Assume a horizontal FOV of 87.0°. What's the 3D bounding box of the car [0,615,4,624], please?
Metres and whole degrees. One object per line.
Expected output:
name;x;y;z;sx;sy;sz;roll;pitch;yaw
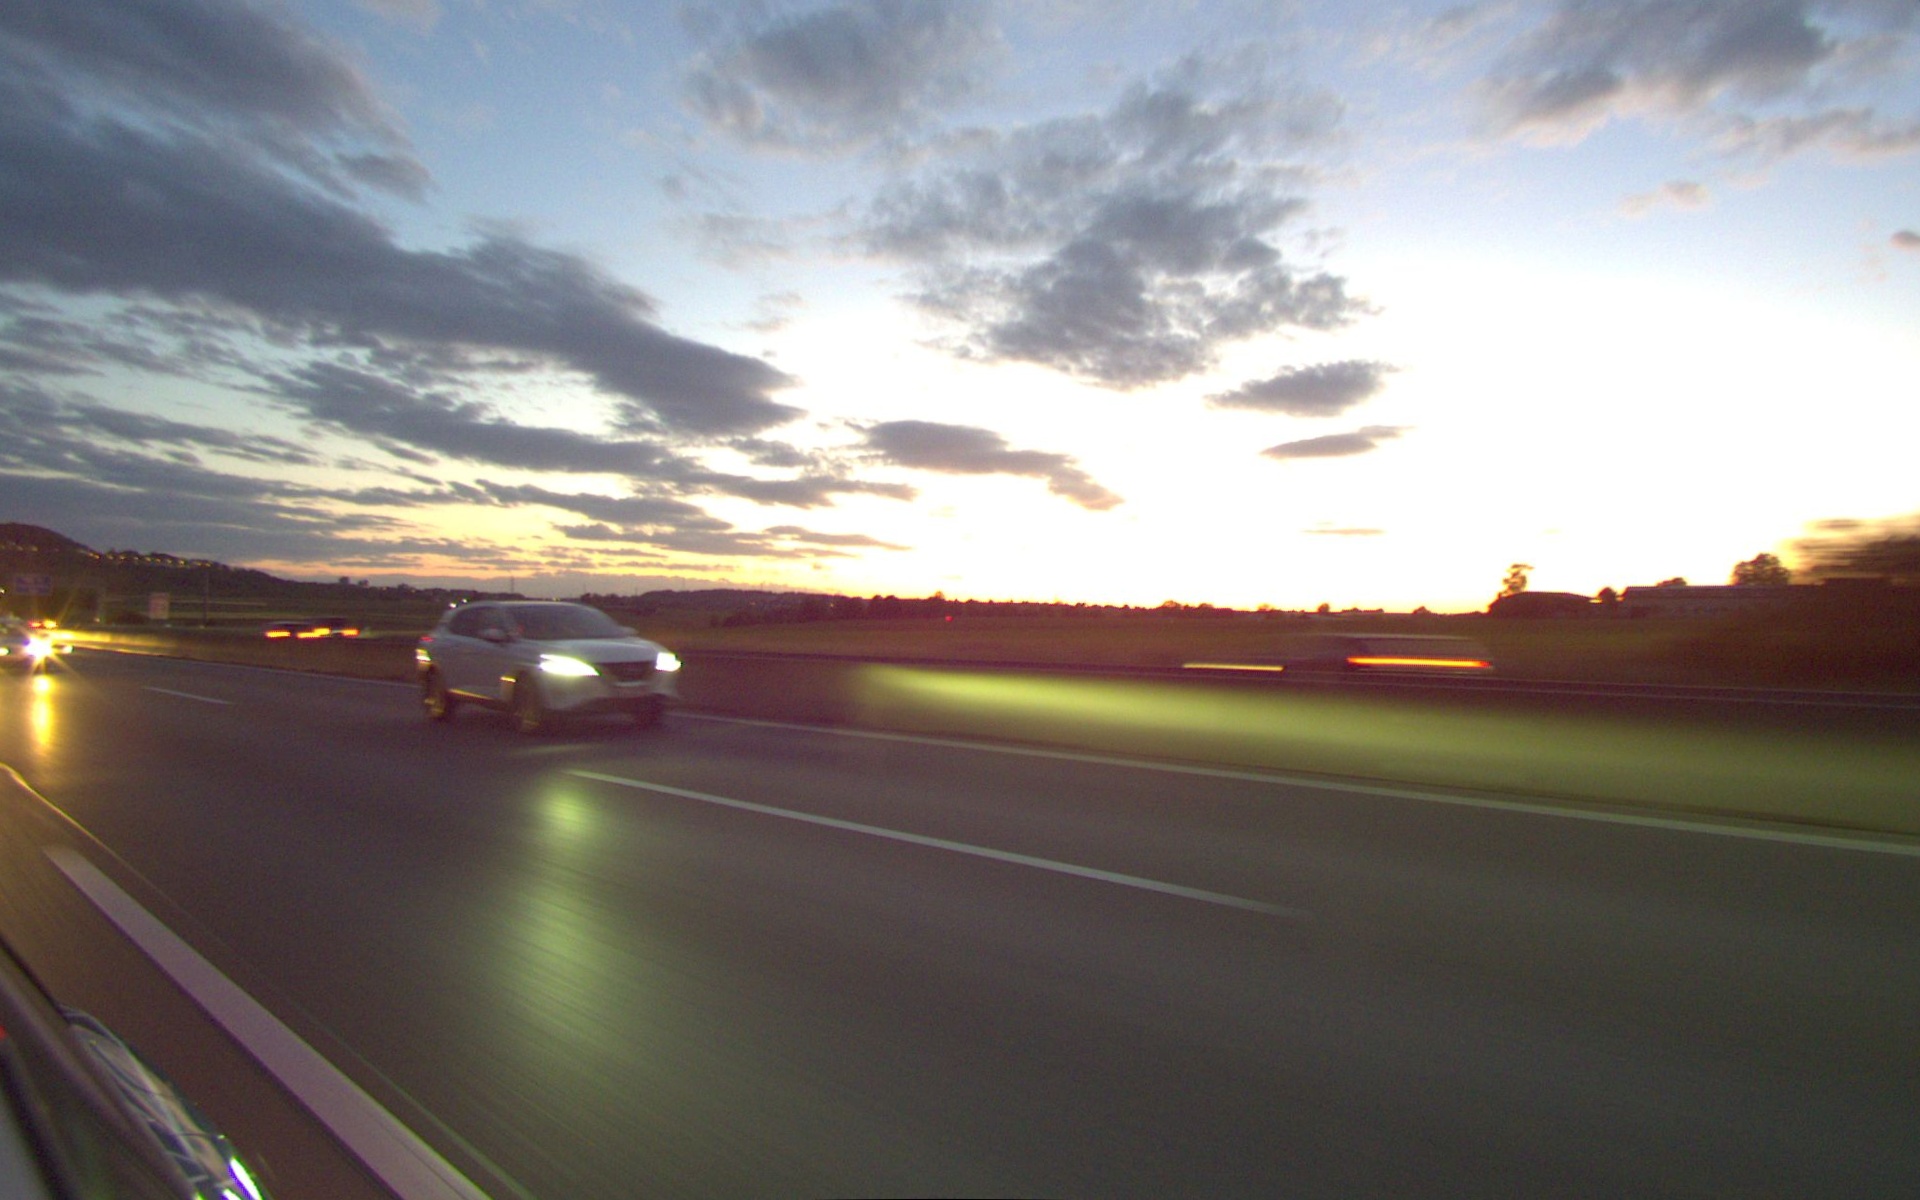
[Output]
car;-171.372;3.517;179.834;4.518;1.546;1.641;0;1;41

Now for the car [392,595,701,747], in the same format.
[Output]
car;-5.609;0.782;13.386;4.854;1.660;1.795;0;1;41

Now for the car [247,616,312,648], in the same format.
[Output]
car;-32.355;1.502;48.071;3.900;1.397;1.588;0;1;41

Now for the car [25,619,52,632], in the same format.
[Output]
car;-98.142;2.723;107.766;4.703;1.310;1.654;0;1;41

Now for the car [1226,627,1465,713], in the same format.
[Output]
car;8.199;1.422;21.783;4.519;1.547;1.726;0;1;41

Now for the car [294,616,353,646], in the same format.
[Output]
car;-42.357;2.019;67.270;4.955;1.861;1.973;0;1;41

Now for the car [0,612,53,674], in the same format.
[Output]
car;-26.260;1.132;27.599;4.157;1.552;1.778;0;1;41
